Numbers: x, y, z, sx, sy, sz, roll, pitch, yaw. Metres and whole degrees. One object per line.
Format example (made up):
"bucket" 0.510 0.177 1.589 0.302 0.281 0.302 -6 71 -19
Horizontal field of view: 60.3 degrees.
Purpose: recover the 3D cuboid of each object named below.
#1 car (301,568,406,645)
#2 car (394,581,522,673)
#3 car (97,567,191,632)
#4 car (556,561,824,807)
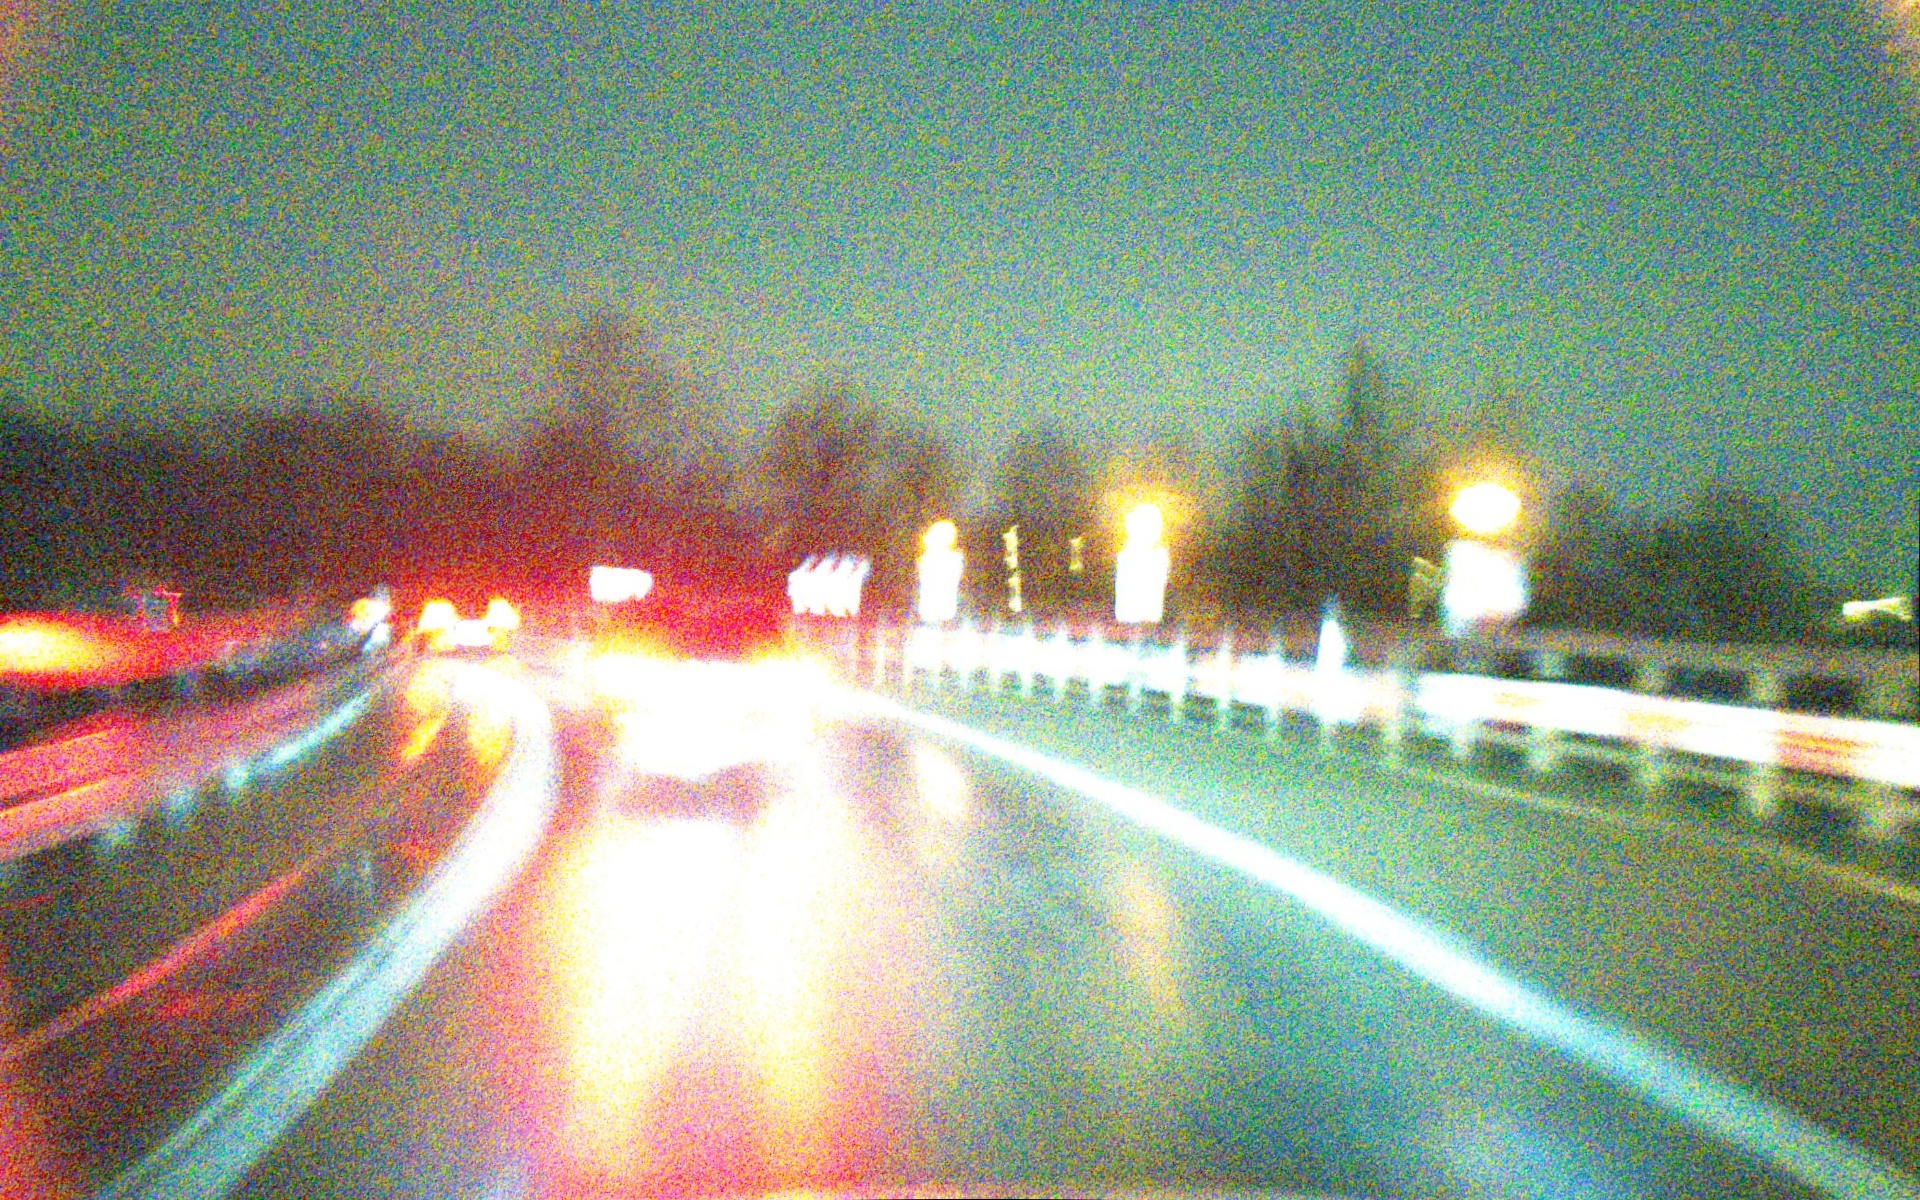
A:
"car" -17.153 0.188 46.679 1.878 2.076 3.998 1 -1 -34
"car" -10.430 0.515 34.183 1.872 1.750 4.011 1 0 -26
"car" -28.127 -0.030 56.940 1.884 2.033 3.986 4 -1 -41
"car" -2.257 0.556 13.444 1.827 1.676 4.057 0 0 -12
